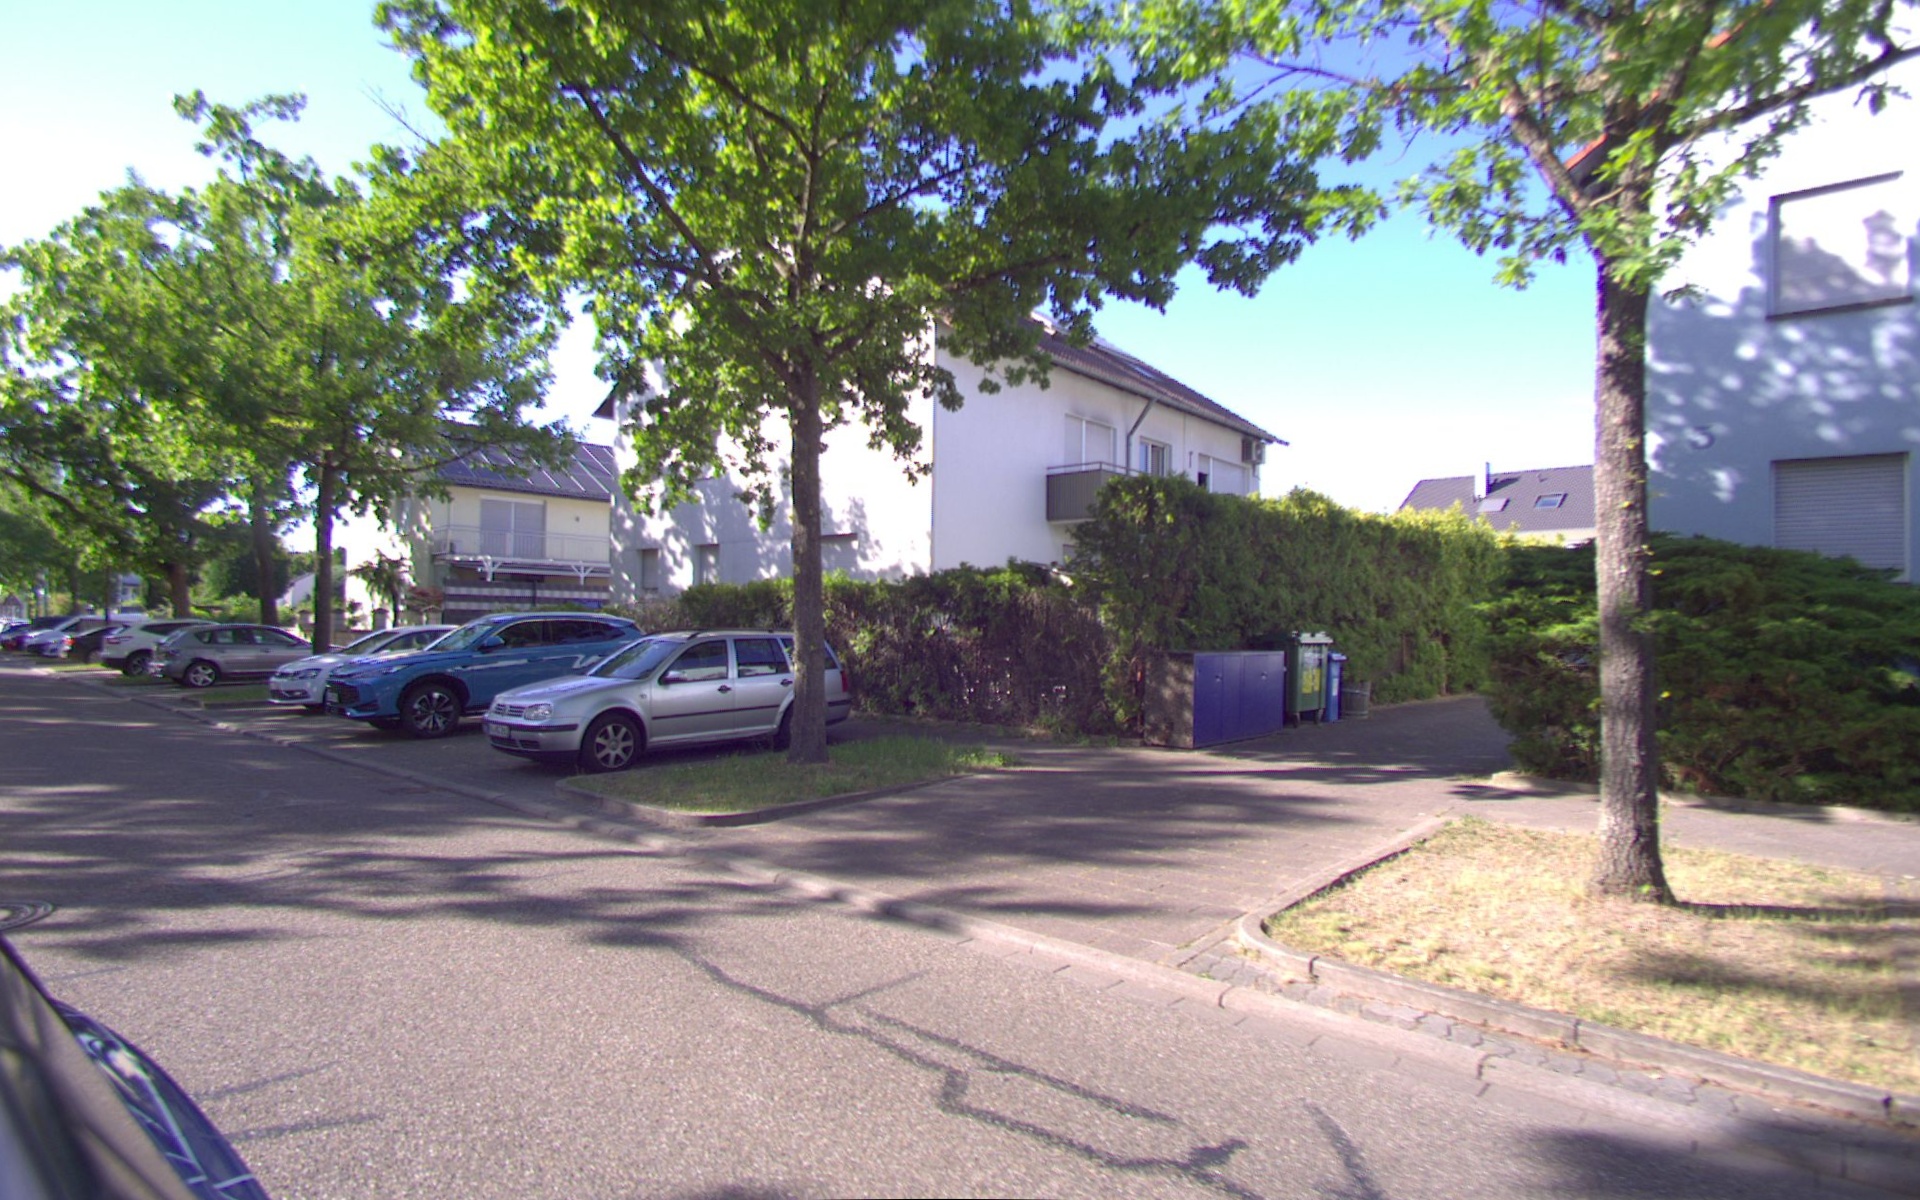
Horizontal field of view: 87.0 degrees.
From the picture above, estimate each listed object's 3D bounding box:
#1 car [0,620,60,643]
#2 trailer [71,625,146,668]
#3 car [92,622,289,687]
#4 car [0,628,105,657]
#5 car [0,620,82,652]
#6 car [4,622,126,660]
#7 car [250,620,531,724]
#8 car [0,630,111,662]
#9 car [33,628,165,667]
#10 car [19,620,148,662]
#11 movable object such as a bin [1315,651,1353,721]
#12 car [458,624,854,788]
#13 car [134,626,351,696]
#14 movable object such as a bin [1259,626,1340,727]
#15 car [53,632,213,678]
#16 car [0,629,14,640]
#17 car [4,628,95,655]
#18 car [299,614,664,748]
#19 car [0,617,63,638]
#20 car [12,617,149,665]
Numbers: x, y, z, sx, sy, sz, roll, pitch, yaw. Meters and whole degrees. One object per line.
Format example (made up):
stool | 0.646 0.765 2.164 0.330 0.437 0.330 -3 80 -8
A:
car | -69.533 2.308 75.064 1.920 1.586 3.915 0 0 38
trailer | -34.254 1.856 40.731 2.209 1.686 1.476 2 -3 -43
car | -21.330 1.446 28.154 1.792 1.579 4.141 -2 -1 44
car | -49.057 2.275 54.591 1.721 1.435 4.230 -1 -1 38
car | -52.663 2.011 57.450 1.761 1.737 4.163 -1 -1 44
car | -46.646 2.097 52.807 1.795 1.782 4.622 -2 -1 43
car | -10.107 1.276 18.163 1.857 1.608 3.944 0 -3 42
car | -45.283 2.286 50.346 1.837 1.511 4.427 -1 -3 43
car | -35.940 1.953 42.304 1.689 1.528 3.947 -1 -2 40
car | -39.854 1.823 46.076 1.966 1.783 4.195 -1 -1 40
movable object such as a bin | 5.629 1.285 15.242 0.355 1.031 0.585 -1 -3 41
car | -3.296 1.049 11.638 1.646 1.503 4.138 -1 -1 41
car | -17.374 1.408 24.647 1.809 1.434 3.992 -1 0 41
movable object such as a bin | 4.872 1.069 14.509 0.692 1.361 1.216 0 -2 41
car | -28.694 1.867 35.205 1.691 1.483 4.162 -1 -3 45
car | -122.685 4.413 129.791 3.852 1.409 1.741 -2 -3 44
car | -54.464 2.495 60.582 3.955 1.526 1.796 4 -4 -45
car | -6.855 1.038 14.878 1.938 1.643 4.474 -1 -1 43
car | -67.823 2.038 73.746 1.708 1.507 3.476 -2 -3 42
car | -38.083 1.779 43.893 1.999 1.959 4.193 -1 -3 40
